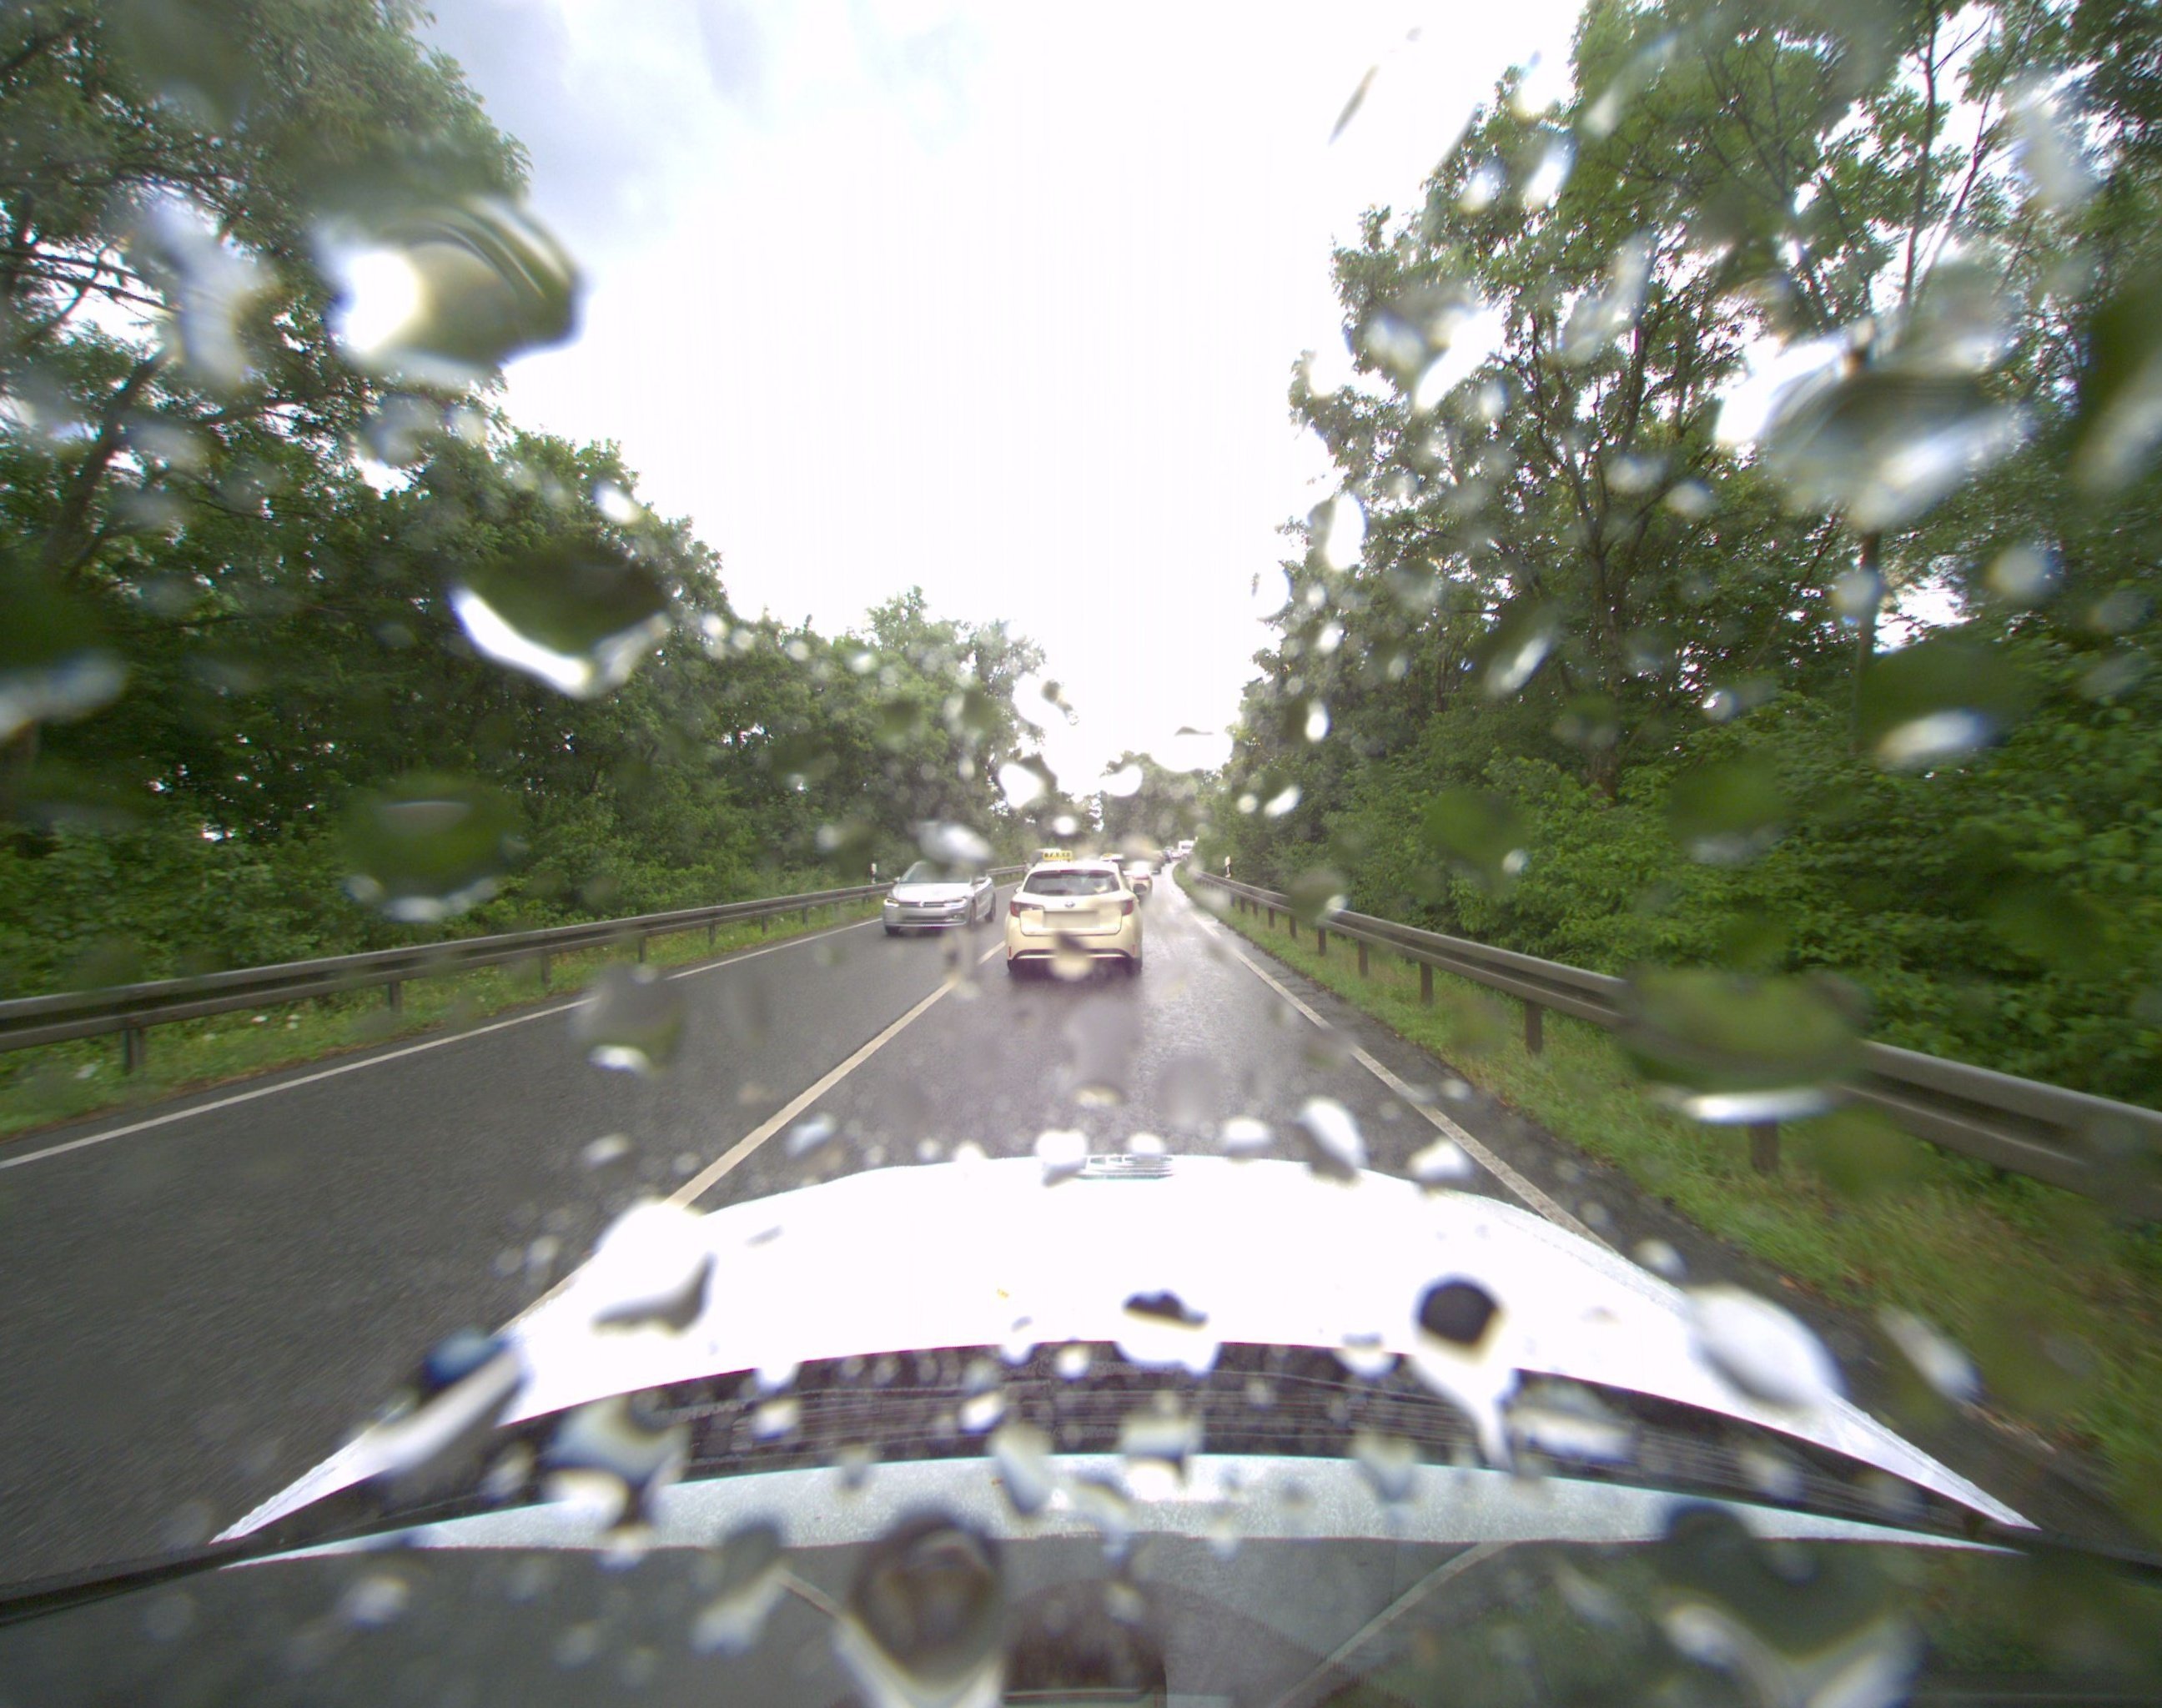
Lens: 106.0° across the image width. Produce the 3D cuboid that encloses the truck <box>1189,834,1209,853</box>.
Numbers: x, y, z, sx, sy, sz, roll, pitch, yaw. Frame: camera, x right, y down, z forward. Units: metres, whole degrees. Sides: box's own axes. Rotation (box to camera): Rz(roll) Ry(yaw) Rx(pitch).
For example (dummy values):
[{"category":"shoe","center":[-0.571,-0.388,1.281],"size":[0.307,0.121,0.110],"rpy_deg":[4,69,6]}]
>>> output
[{"category":"truck","center":[24.033,-2.113,165.909],"size":[3.083,3.680,7.029],"rpy_deg":[-1,-1,16]}]

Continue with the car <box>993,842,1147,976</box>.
[{"category":"car","center":[-0.016,0.675,11.741],"size":[1.826,1.580,4.160],"rpy_deg":[-1,-1,3]}]

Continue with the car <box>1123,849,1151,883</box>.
[{"category":"car","center":[2.673,0.572,39.275],"size":[1.295,1.547,3.262],"rpy_deg":[-1,-1,3]}]

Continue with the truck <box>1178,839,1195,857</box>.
[{"category":"truck","center":[17.578,-0.956,135.691],"size":[2.537,2.713,7.546],"rpy_deg":[-1,-1,6]}]

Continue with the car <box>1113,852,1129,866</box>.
[{"category":"car","center":[4.650,0.538,94.379],"size":[1.799,1.532,4.211],"rpy_deg":[-1,0,4]}]

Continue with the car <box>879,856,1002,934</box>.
[{"category":"car","center":[-2.807,0.790,17.128],"size":[1.721,1.431,3.852],"rpy_deg":[-1,-1,3]}]

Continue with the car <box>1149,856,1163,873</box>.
[{"category":"car","center":[7.095,1.022,76.878],"size":[1.160,1.547,2.610],"rpy_deg":[-1,-1,8]}]

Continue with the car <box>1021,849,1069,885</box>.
[{"category":"car","center":[-1.705,0.635,40.152],"size":[1.807,1.686,4.627],"rpy_deg":[-1,-1,4]}]

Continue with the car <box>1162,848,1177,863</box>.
[{"category":"car","center":[10.045,0.206,92.843],"size":[1.608,1.613,3.627],"rpy_deg":[-1,-1,5]}]

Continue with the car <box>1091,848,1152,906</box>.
[{"category":"car","center":[1.236,0.653,24.509],"size":[1.660,1.580,3.895],"rpy_deg":[-1,-1,3]}]

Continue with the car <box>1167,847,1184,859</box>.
[{"category":"car","center":[12.971,-0.144,111.481],"size":[1.757,1.547,3.828],"rpy_deg":[-1,-1,13]}]

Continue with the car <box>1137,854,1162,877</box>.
[{"category":"car","center":[4.784,0.816,56.865],"size":[1.603,1.547,3.819],"rpy_deg":[-1,-1,5]}]
